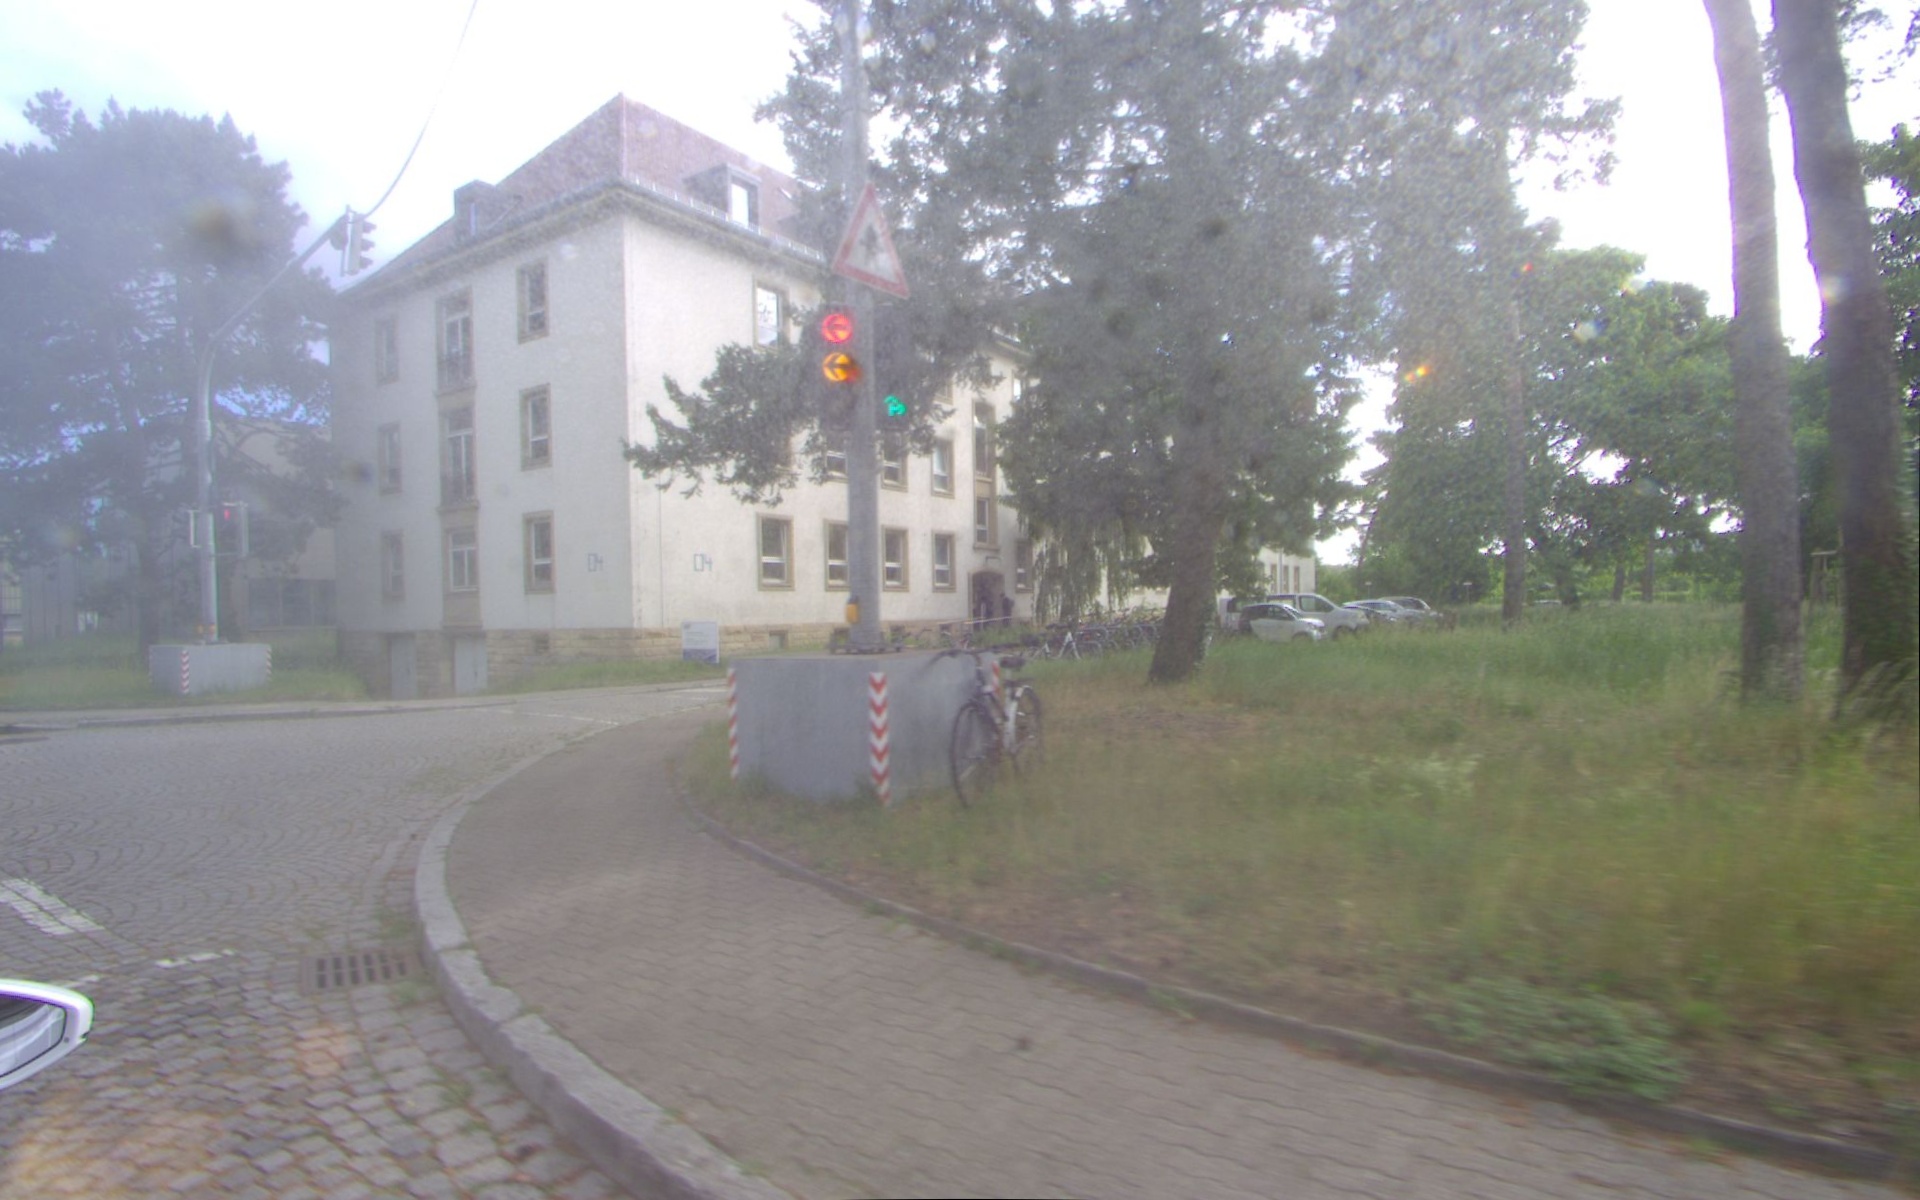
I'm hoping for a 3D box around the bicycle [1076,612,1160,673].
[{"bbox_3d":[3.585,0.943,22.777,1.897,1.337,0.503,-1,0,40],"label":"bicycle"}]

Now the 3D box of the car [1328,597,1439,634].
[{"bbox_3d":[19.757,0.749,46.774,4.457,1.639,1.987,-1,0,35],"label":"car"}]

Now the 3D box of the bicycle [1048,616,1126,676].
[{"bbox_3d":[2.699,0.970,21.373,1.619,1.231,0.539,-1,0,40],"label":"bicycle"}]

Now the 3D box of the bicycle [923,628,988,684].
[{"bbox_3d":[-0.066,1.093,19.923,0.535,1.028,1.532,-1,0,33],"label":"bicycle"}]

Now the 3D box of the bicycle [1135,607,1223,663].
[{"bbox_3d":[5.576,0.882,25.563,2.077,1.385,0.754,-1,0,40],"label":"bicycle"}]

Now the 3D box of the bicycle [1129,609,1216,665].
[{"bbox_3d":[5.276,0.912,24.909,2.107,1.337,0.552,-1,0,40],"label":"bicycle"}]

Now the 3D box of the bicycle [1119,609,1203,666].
[{"bbox_3d":[4.903,0.902,24.478,1.991,1.337,0.538,-1,0,40],"label":"bicycle"}]

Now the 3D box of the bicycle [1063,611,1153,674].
[{"bbox_3d":[3.273,0.931,22.278,1.952,1.337,0.574,-1,0,40],"label":"bicycle"}]

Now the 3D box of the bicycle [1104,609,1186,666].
[{"bbox_3d":[4.440,0.892,24.114,1.915,1.337,0.551,-1,0,40],"label":"bicycle"}]

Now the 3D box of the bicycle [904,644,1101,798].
[{"bbox_3d":[0.351,0.785,7.034,0.565,0.886,1.695,0,0,34],"label":"bicycle"}]

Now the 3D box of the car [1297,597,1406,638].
[{"bbox_3d":[16.484,0.738,42.206,3.947,1.639,1.987,-1,0,35],"label":"car"}]

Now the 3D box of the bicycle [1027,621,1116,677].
[{"bbox_3d":[2.316,1.005,20.936,1.879,1.116,0.539,-1,0,40],"label":"bicycle"}]

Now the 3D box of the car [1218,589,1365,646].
[{"bbox_3d":[11.713,0.638,35.521,4.777,1.935,2.235,-1,0,19],"label":"car"}]

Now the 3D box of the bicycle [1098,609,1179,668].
[{"bbox_3d":[4.182,0.881,23.553,1.831,1.337,0.553,-1,0,40],"label":"bicycle"}]

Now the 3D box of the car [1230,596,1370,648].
[{"bbox_3d":[10.842,0.687,32.026,3.880,1.550,1.850,-1,0,37],"label":"car"}]

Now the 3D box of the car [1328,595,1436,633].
[{"bbox_3d":[20.959,0.699,49.820,4.633,1.796,1.987,-1,0,35],"label":"car"}]

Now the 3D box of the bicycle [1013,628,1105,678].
[{"bbox_3d":[1.993,1.062,20.368,1.879,0.961,0.539,-1,0,40],"label":"bicycle"}]

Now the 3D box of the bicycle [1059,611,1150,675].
[{"bbox_3d":[3.111,0.916,21.699,2.023,1.337,0.435,-1,0,40],"label":"bicycle"}]

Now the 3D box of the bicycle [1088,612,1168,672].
[{"bbox_3d":[3.861,0.950,23.133,1.895,1.337,0.390,-1,0,40],"label":"bicycle"}]

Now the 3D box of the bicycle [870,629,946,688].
[{"bbox_3d":[-0.934,1.051,18.394,0.523,0.993,1.617,-1,0,33],"label":"bicycle"}]
